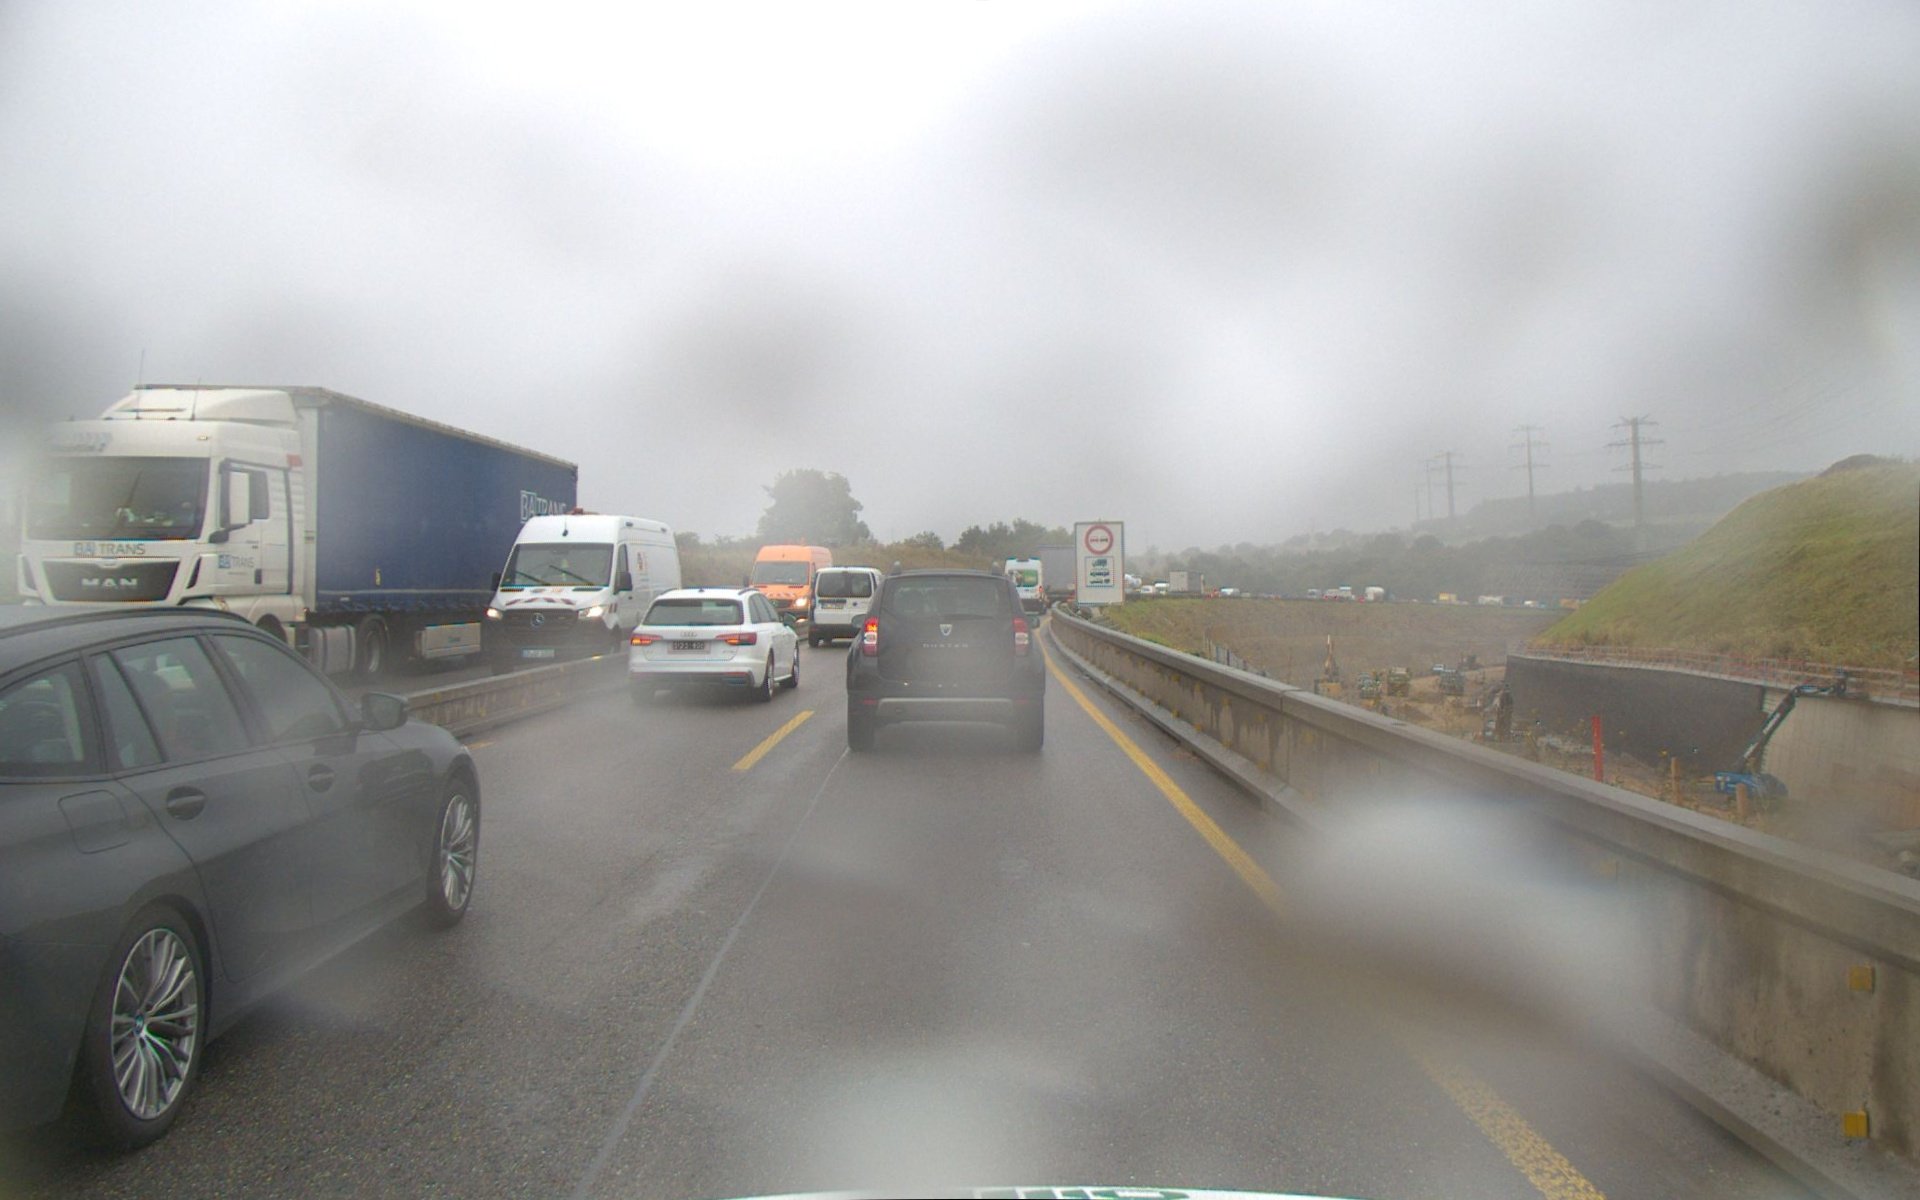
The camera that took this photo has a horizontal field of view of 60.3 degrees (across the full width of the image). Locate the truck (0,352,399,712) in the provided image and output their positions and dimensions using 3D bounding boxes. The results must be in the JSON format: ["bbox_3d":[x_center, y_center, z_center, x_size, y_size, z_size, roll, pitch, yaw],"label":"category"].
[{"bbox_3d":[-9.825,-0.847,21.819,2.730,4.105,5.822,0,1,2],"label":"truck"}]

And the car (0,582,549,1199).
[{"bbox_3d":[-2.929,0.760,5.497,1.699,1.488,5.630,0,2,0],"label":"car"}]

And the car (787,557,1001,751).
[{"bbox_3d":[-0.518,0.455,15.894,1.788,1.619,4.000,0,0,1],"label":"car"}]

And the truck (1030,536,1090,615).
[{"bbox_3d":[6.922,-1.576,113.555,3.468,5.166,10.449,0,0,7],"label":"truck"}]

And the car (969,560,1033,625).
[{"bbox_3d":[1.243,-0.207,48.515,1.788,1.846,4.001,0,0,3],"label":"car"}]

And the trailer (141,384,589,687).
[{"bbox_3d":[-9.647,-1.037,29.388,2.722,4.105,13.745,0,1,1],"label":"trailer"}]

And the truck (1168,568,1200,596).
[{"bbox_3d":[31.028,-2.475,228.938,3.398,3.780,8.424,-1,1,15],"label":"truck"}]

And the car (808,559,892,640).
[{"bbox_3d":[-2.606,-0.011,39.859,1.789,1.846,3.999,0,0,-1],"label":"car"}]

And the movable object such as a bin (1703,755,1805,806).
[{"bbox_3d":[36.546,8.272,76.164,1.978,2.049,3.791,3,-3,-37],"label":"movable object such as a bin"}]

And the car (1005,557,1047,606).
[{"bbox_3d":[3.421,-0.928,84.915,1.787,2.480,4.161,0,0,7],"label":"car"}]

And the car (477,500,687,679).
[{"bbox_3d":[-6.290,-0.234,28.476,1.965,2.700,6.885,0,1,1],"label":"car"}]

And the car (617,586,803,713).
[{"bbox_3d":[-3.190,0.598,21.853,1.788,1.525,4.000,0,0,1],"label":"car"}]

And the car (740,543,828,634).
[{"bbox_3d":[-5.346,-0.386,51.182,2.012,2.622,7.021,0,1,0],"label":"car"}]
